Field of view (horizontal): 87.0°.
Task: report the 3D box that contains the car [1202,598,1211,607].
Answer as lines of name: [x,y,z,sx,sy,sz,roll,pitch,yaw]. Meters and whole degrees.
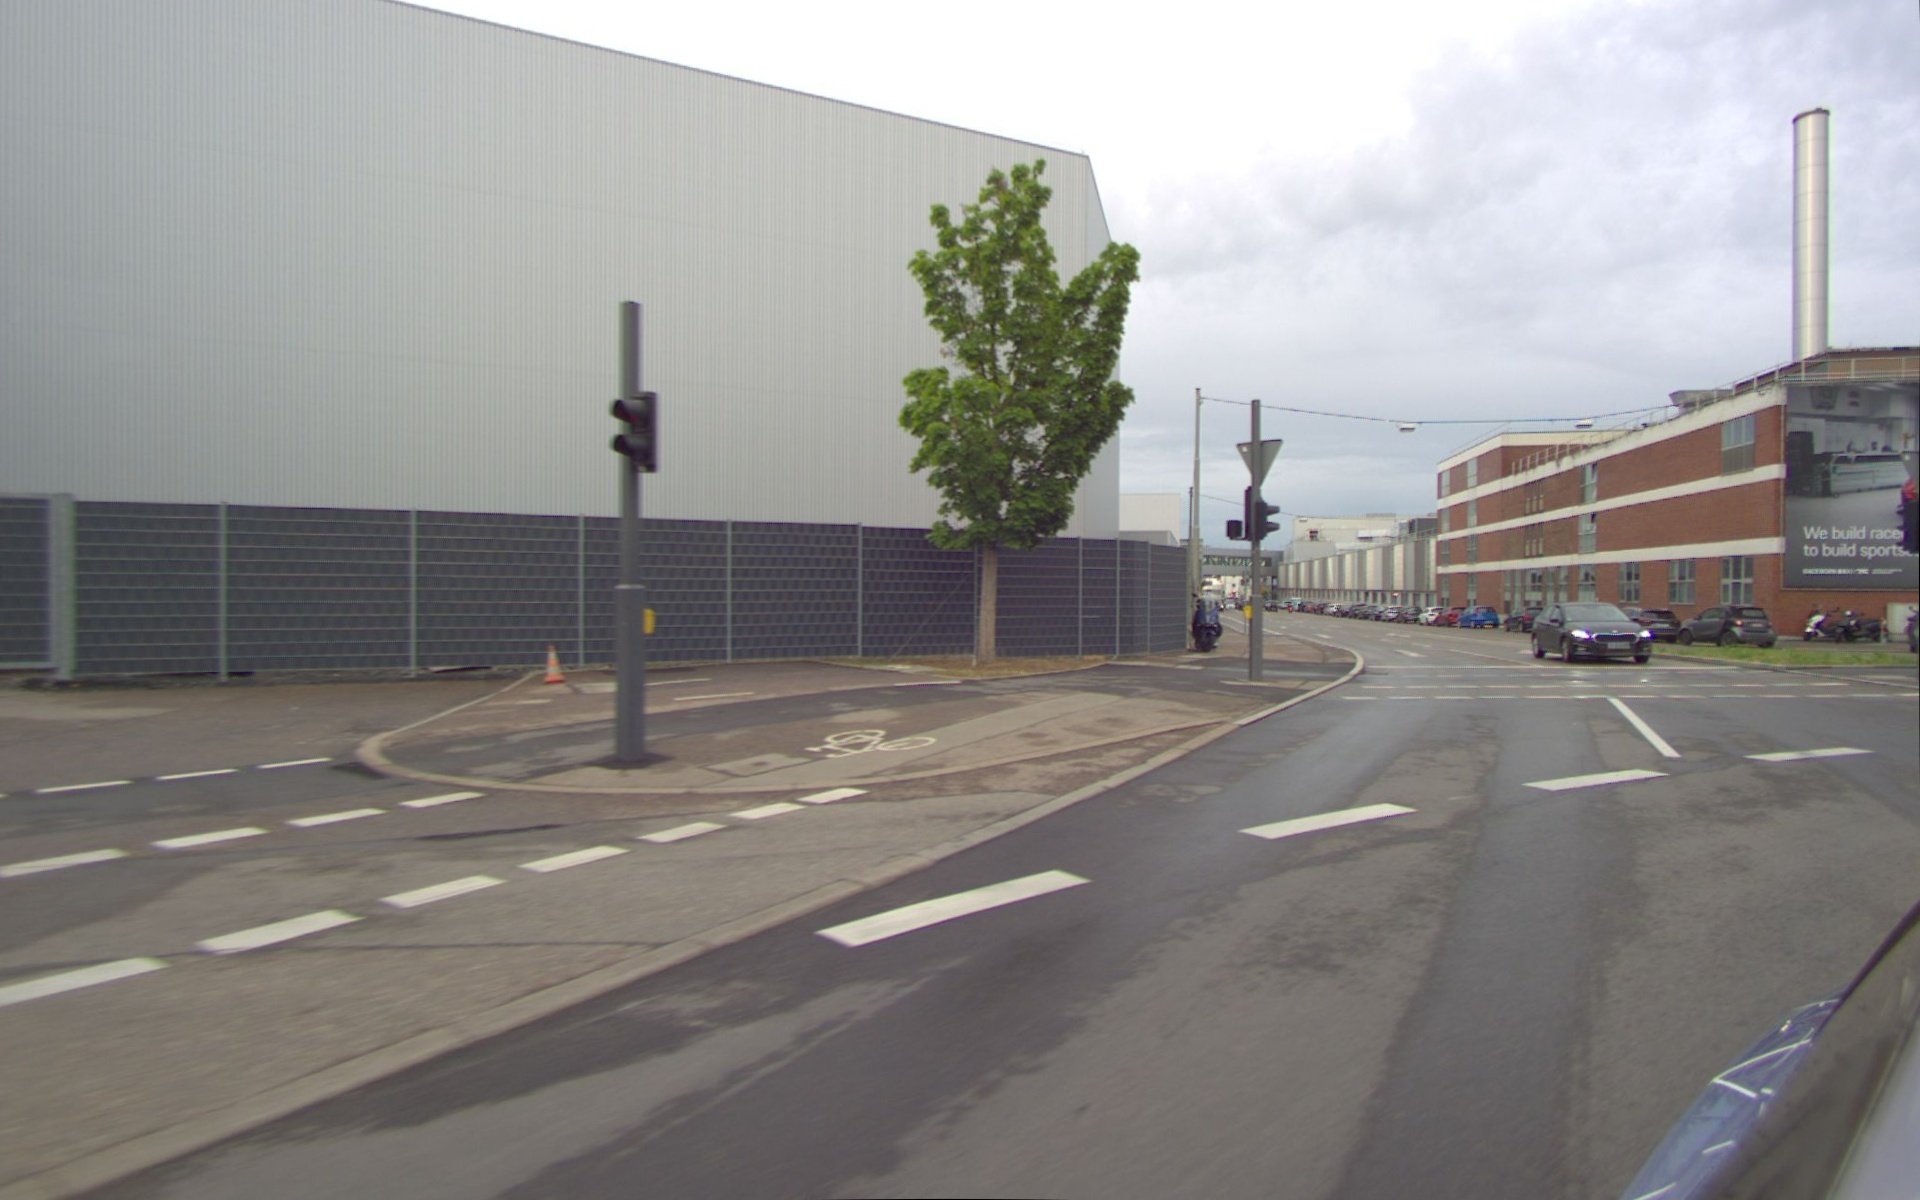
car: [47.827,0.479,196.620,1.589,1.579,3.986,-1,0,12]

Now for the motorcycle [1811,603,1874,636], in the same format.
motorcycle: [32.820,0.716,37.661,1.628,1.125,0.541,-3,-1,21]

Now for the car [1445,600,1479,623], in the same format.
car: [35.592,0.818,71.824,1.438,1.462,3.373,-3,0,15]

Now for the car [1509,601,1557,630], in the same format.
car: [31.929,0.850,56.484,1.438,1.462,3.373,-3,0,15]

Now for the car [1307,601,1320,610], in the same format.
car: [52.227,0.807,149.560,1.438,1.256,3.355,-3,0,15]

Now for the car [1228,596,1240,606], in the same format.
car: [45.670,0.130,168.818,1.589,1.579,3.986,-1,0,12]

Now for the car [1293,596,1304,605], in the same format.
car: [55.922,0.093,167.206,1.438,1.256,3.355,-3,0,15]

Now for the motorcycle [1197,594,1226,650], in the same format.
motorcycle: [6.262,0.533,25.300,0.645,1.327,2.092,-1,-1,13]

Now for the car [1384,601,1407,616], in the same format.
car: [39.956,0.737,92.892,1.438,1.256,3.355,-3,0,15]

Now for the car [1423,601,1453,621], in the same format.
car: [36.691,0.804,77.737,1.438,1.393,3.373,-3,0,15]

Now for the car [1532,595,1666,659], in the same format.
car: [15.594,0.613,24.907,1.697,1.444,3.979,-1,0,16]

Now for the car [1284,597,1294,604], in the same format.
car: [58.294,0.077,179.081,1.438,1.256,3.355,-3,0,15]

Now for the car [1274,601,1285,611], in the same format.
car: [47.224,0.881,149.686,1.438,1.256,3.355,-3,0,15]

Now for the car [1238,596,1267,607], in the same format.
car: [44.087,0.153,152.572,3.935,1.579,1.610,-1,0,10]

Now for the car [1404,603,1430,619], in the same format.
car: [38.989,0.912,86.375,1.438,1.256,3.355,-3,0,15]

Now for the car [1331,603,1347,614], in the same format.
car: [46.687,1.038,124.636,1.438,1.256,3.355,-3,0,15]

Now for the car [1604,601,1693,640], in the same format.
car: [28.970,0.842,42.727,1.543,1.462,4.092,-3,0,11]

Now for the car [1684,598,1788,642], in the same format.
car: [28.491,0.725,37.225,1.522,1.512,2.755,1,-1,-8]

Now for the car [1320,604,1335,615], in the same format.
car: [48.971,1.286,134.895,1.438,1.256,3.355,-3,0,15]

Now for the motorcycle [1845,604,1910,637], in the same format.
motorcycle: [33.073,0.740,36.515,1.582,1.134,0.541,-3,-1,21]

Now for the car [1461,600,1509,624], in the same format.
car: [34.552,0.762,66.674,1.669,1.462,3.381,-3,0,8]

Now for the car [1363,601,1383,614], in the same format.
car: [42.336,0.756,103.789,1.438,1.256,3.355,-3,0,15]

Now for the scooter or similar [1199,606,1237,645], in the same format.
scooter or similar: [7.054,0.695,27.649,1.249,1.042,0.384,1,-1,-44]

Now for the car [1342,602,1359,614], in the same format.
car: [45.784,0.976,118.614,1.438,1.256,3.355,-3,0,15]
